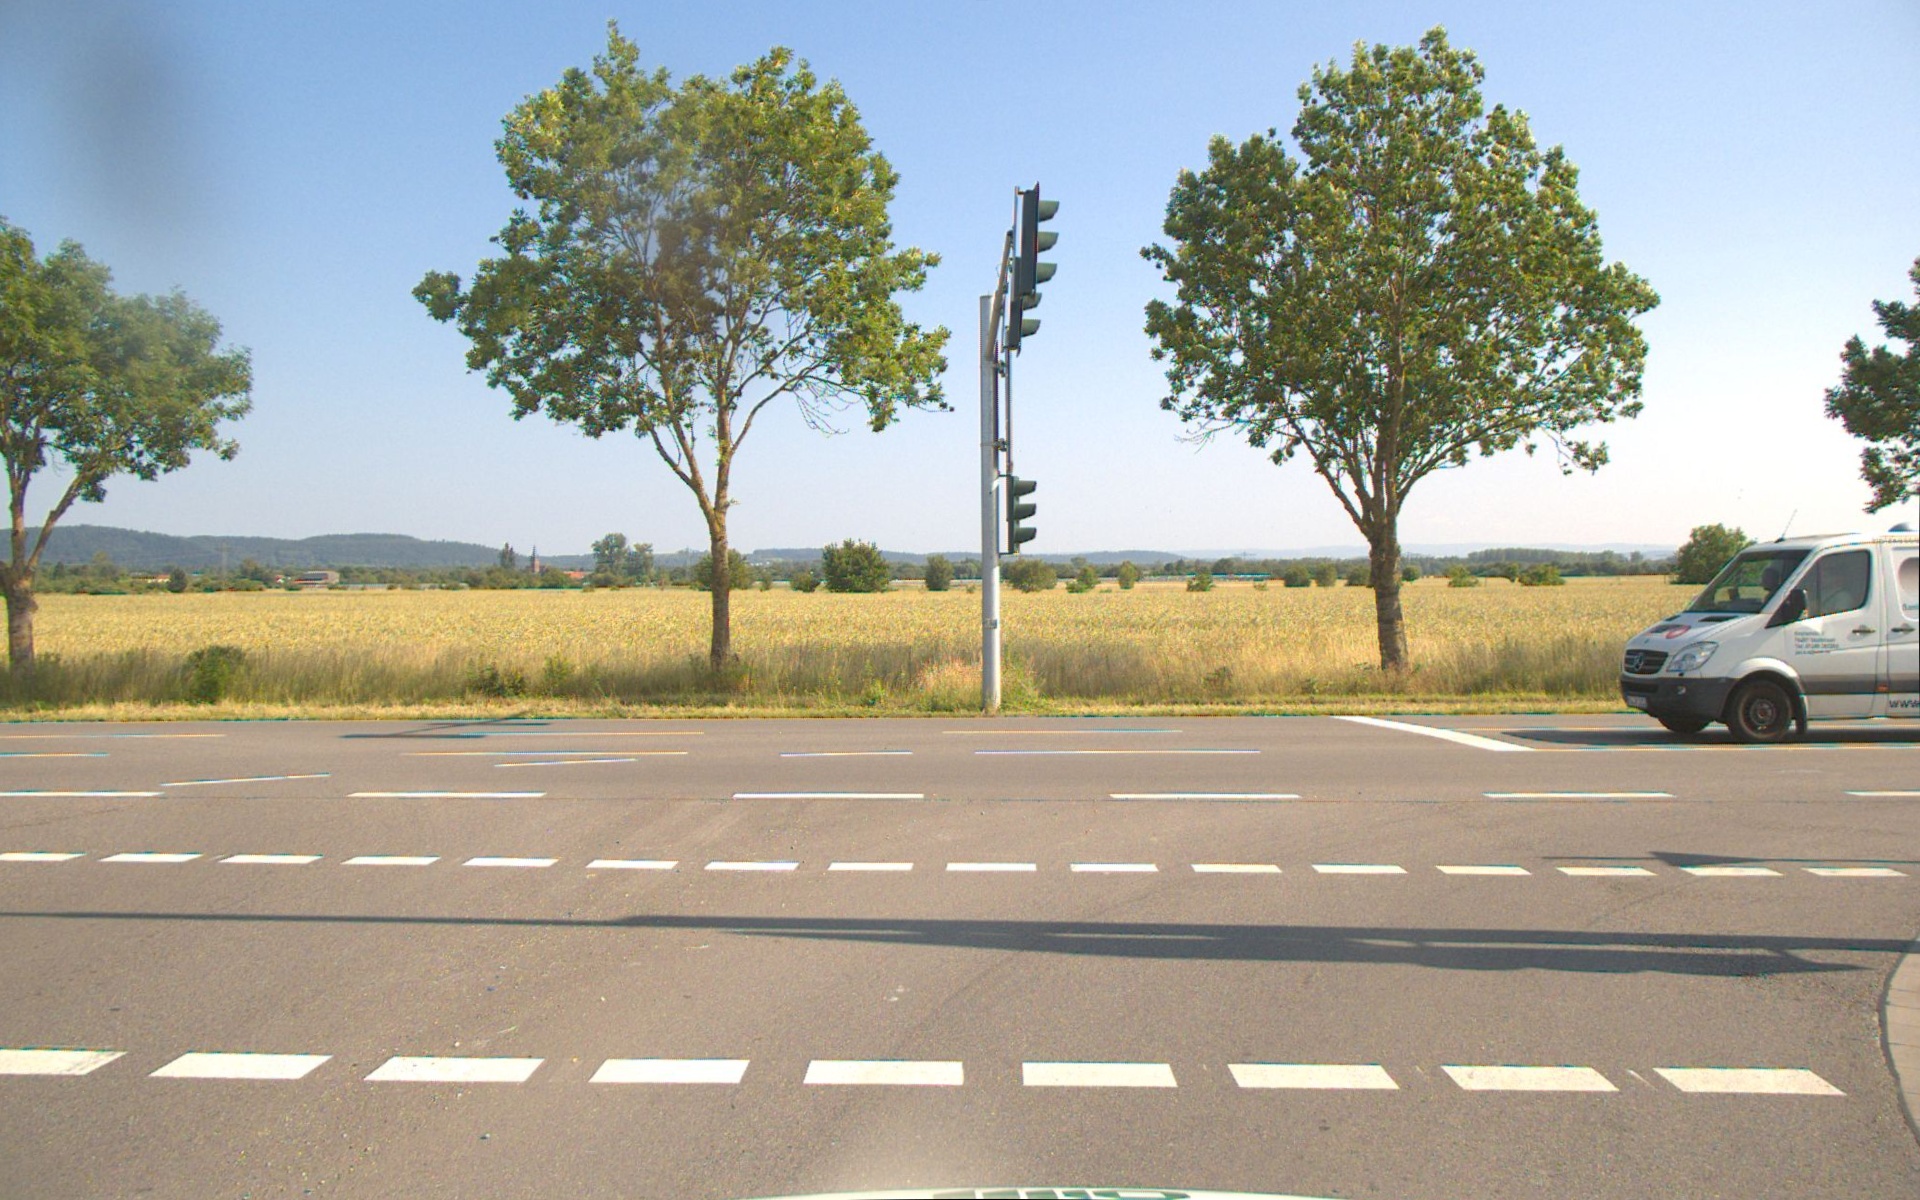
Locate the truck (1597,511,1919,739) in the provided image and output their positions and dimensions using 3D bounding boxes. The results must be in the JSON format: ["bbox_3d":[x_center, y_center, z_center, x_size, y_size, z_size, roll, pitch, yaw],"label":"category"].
[{"bbox_3d":[10.709,0.264,18.937,6.053,2.447,2.070,0,-1,-2],"label":"truck"}]
